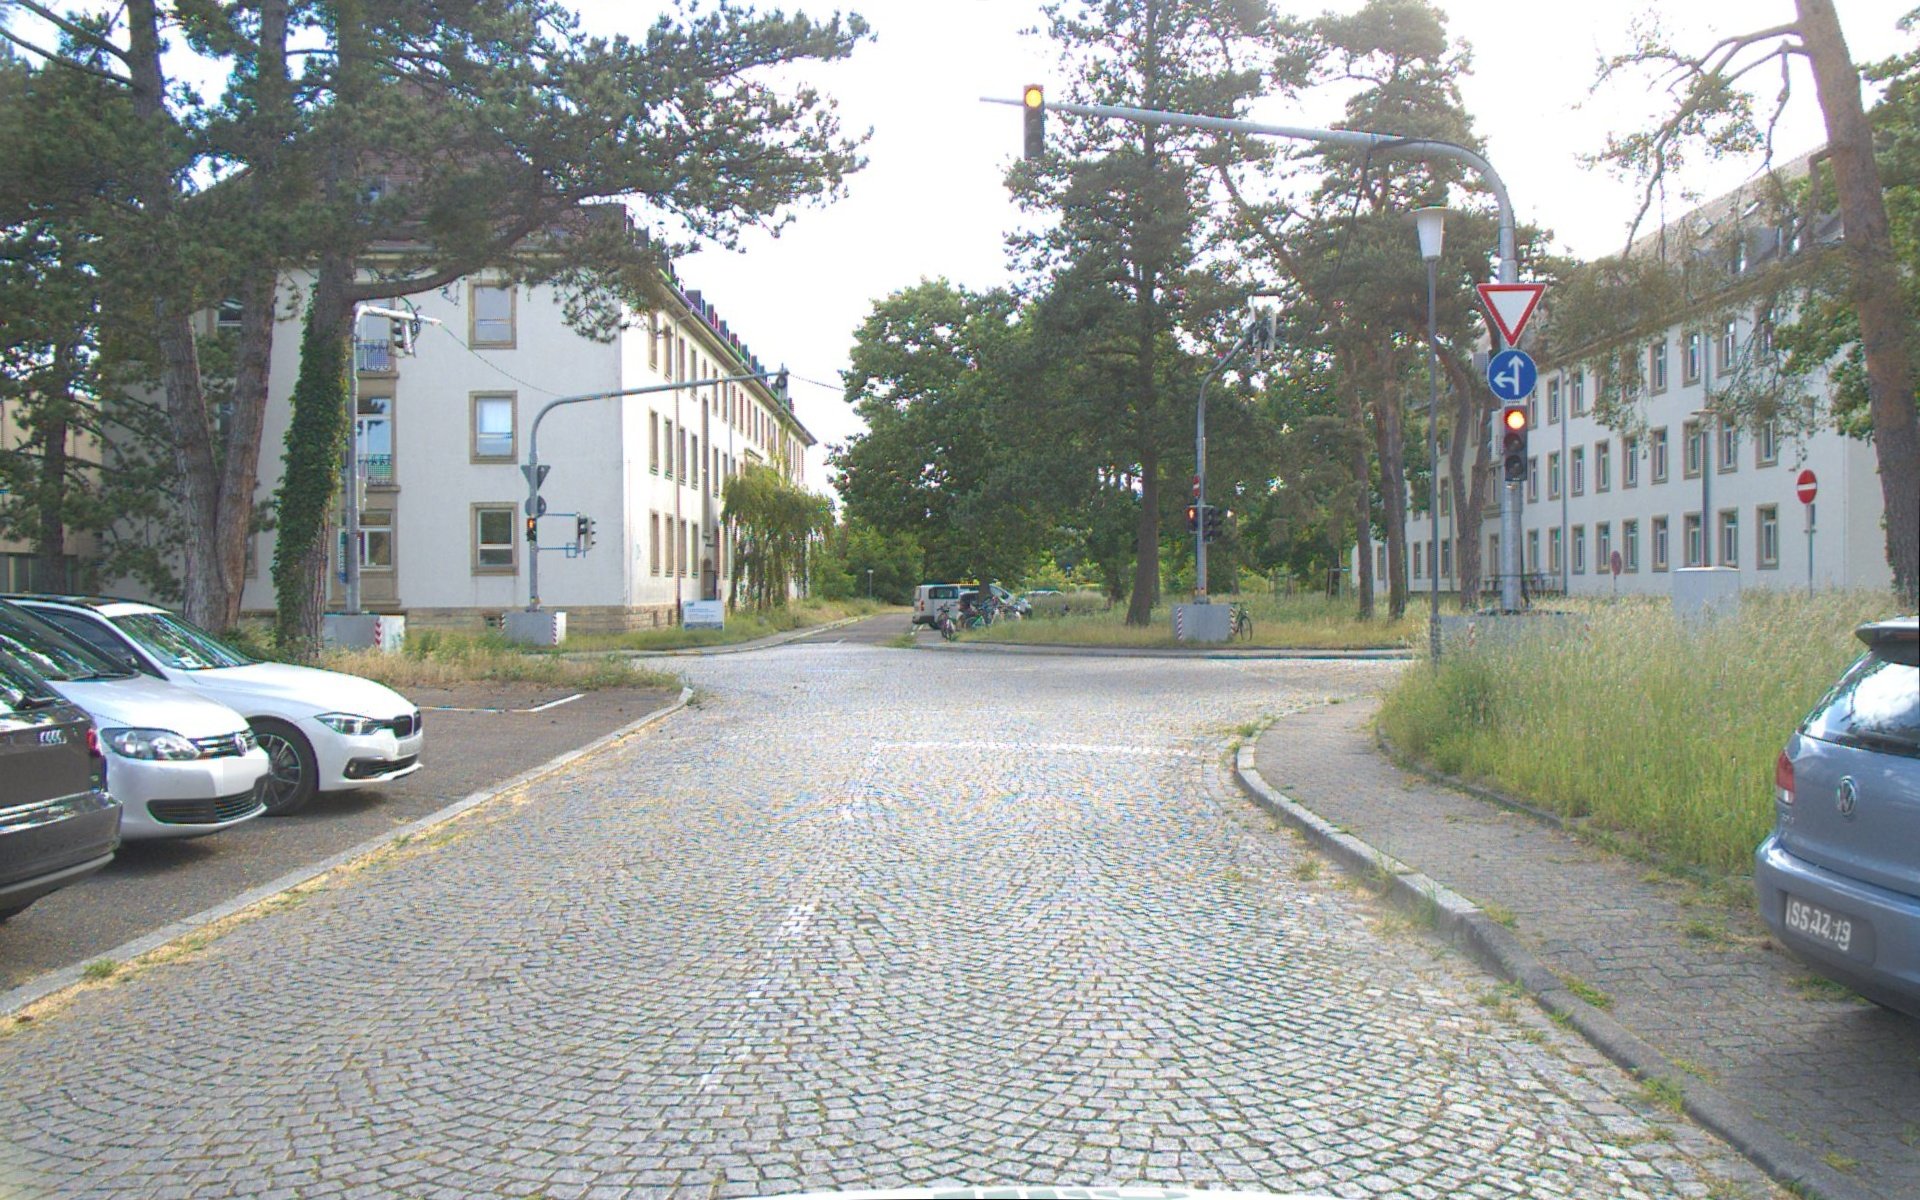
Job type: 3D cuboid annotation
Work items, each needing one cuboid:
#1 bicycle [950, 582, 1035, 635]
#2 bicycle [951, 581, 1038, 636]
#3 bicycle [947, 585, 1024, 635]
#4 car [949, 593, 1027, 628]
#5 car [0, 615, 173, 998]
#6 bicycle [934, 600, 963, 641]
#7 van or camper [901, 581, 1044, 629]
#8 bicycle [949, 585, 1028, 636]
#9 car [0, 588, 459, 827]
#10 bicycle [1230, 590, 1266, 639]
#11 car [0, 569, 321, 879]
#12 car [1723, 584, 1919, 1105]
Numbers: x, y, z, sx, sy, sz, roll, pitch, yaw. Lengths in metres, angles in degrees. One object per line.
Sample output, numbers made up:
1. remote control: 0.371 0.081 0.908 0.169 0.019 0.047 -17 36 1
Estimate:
1. bicycle: 1.079 0.290 55.377 2.723 1.723 1.118 -1 0 -8
2. bicycle: 1.107 0.267 54.183 2.722 1.723 1.119 -1 0 -6
3. bicycle: 0.928 0.354 60.280 2.718 1.723 1.120 2 0 1
4. car: 1.154 0.433 68.577 3.077 1.378 1.618 -1 0 -6
5. car: -5.567 0.751 6.841 3.758 1.433 1.695 2 0 -1
6. bicycle: -0.342 0.599 49.895 0.711 1.127 2.462 -5 0 1
7. van or camper: 0.525 0.214 72.150 5.930 1.983 1.993 -1 0 -14
8. bicycle: 1.015 0.374 58.942 2.717 1.723 1.121 2 0 4
9. car: -6.175 0.712 12.151 4.389 1.467 1.829 3 0 -4
10. bicycle: 7.365 0.356 42.422 0.708 1.189 2.739 1 0 6
11. car: -5.972 0.628 9.685 3.755 1.635 1.734 2 0 -3
12. car: 4.641 0.667 5.148 3.764 1.496 1.641 -1 0 -1
